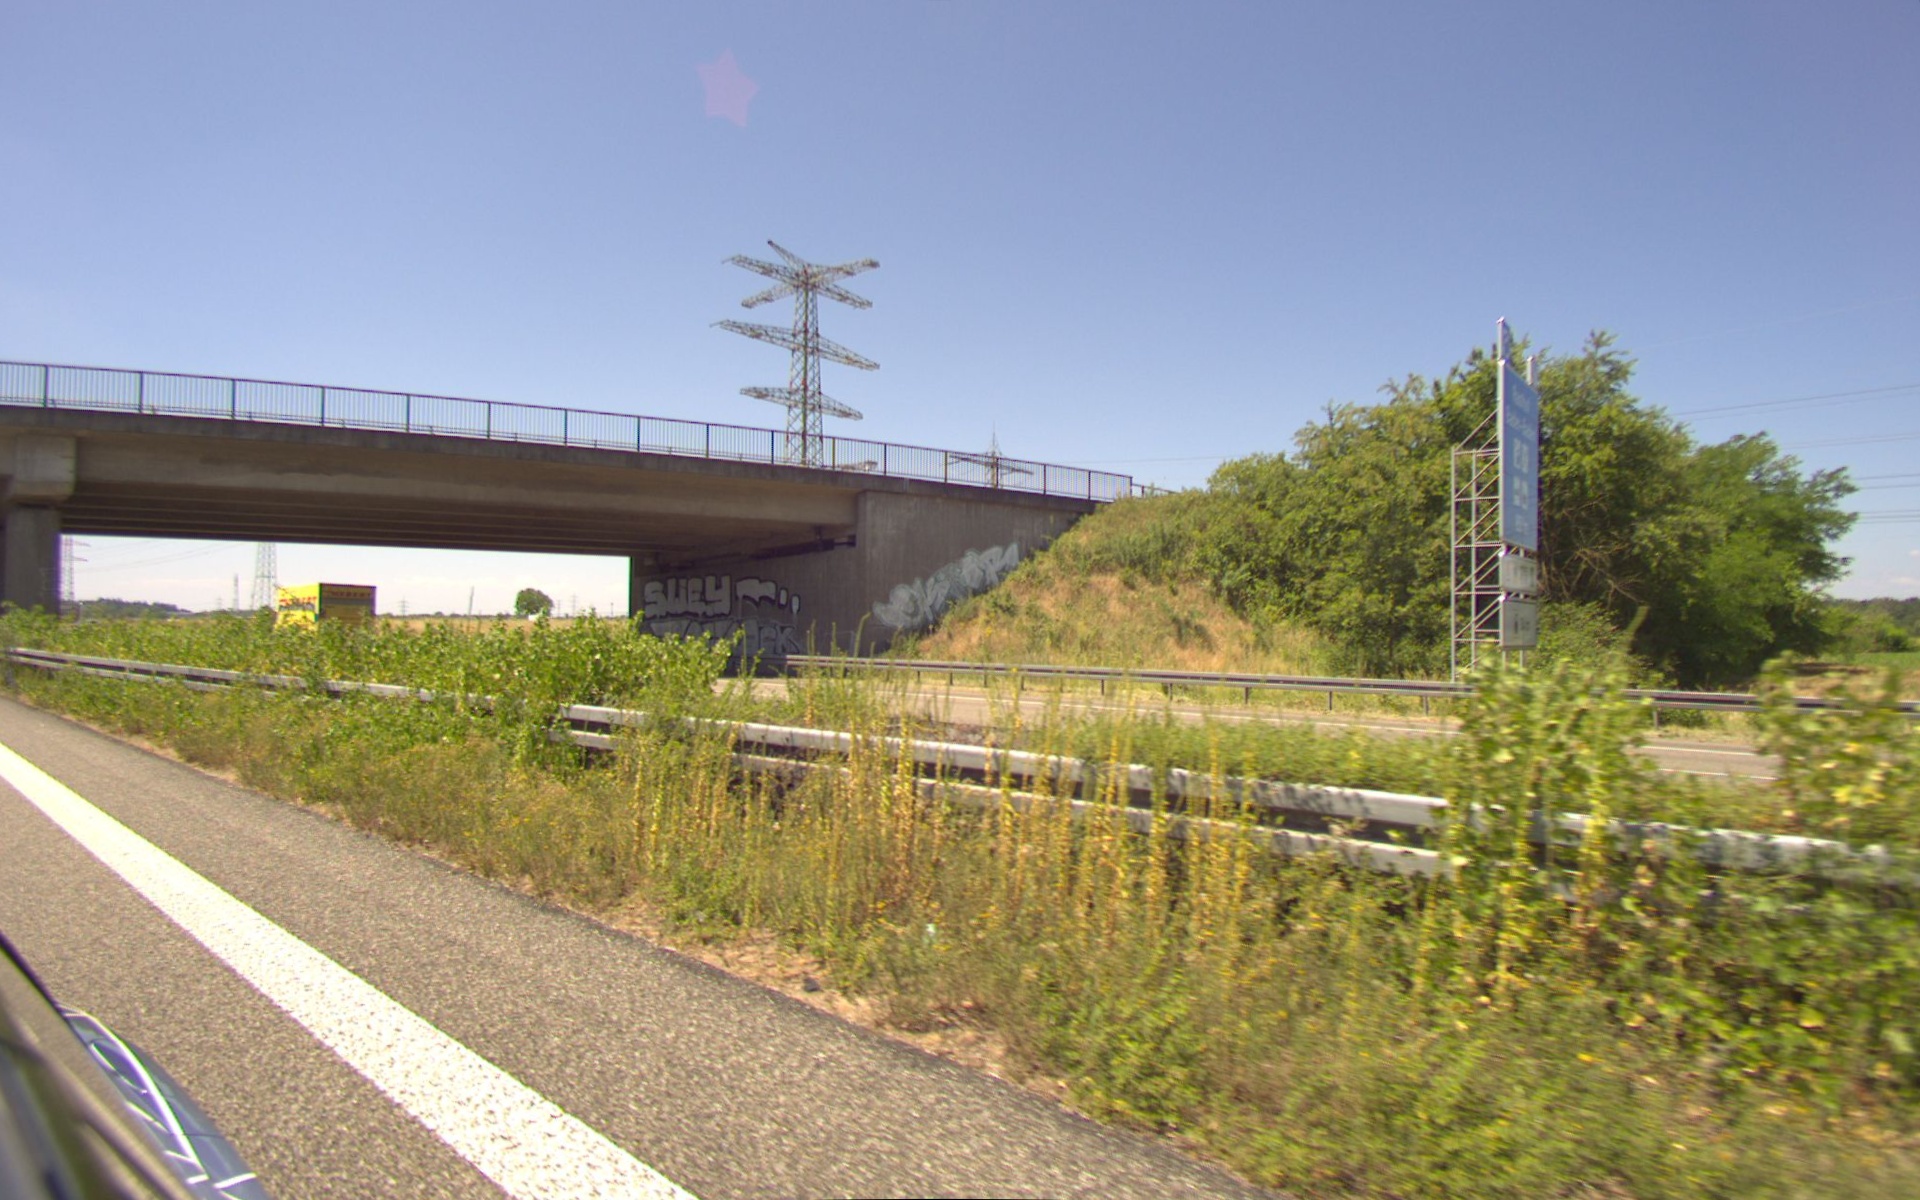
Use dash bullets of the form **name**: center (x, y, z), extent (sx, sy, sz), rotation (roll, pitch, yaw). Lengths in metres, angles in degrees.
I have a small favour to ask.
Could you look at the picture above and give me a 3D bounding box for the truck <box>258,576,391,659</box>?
- **truck**: center (-32.501, 0.854, 51.621), extent (8.658, 3.892, 3.475), rotation (-1, -1, 42)
